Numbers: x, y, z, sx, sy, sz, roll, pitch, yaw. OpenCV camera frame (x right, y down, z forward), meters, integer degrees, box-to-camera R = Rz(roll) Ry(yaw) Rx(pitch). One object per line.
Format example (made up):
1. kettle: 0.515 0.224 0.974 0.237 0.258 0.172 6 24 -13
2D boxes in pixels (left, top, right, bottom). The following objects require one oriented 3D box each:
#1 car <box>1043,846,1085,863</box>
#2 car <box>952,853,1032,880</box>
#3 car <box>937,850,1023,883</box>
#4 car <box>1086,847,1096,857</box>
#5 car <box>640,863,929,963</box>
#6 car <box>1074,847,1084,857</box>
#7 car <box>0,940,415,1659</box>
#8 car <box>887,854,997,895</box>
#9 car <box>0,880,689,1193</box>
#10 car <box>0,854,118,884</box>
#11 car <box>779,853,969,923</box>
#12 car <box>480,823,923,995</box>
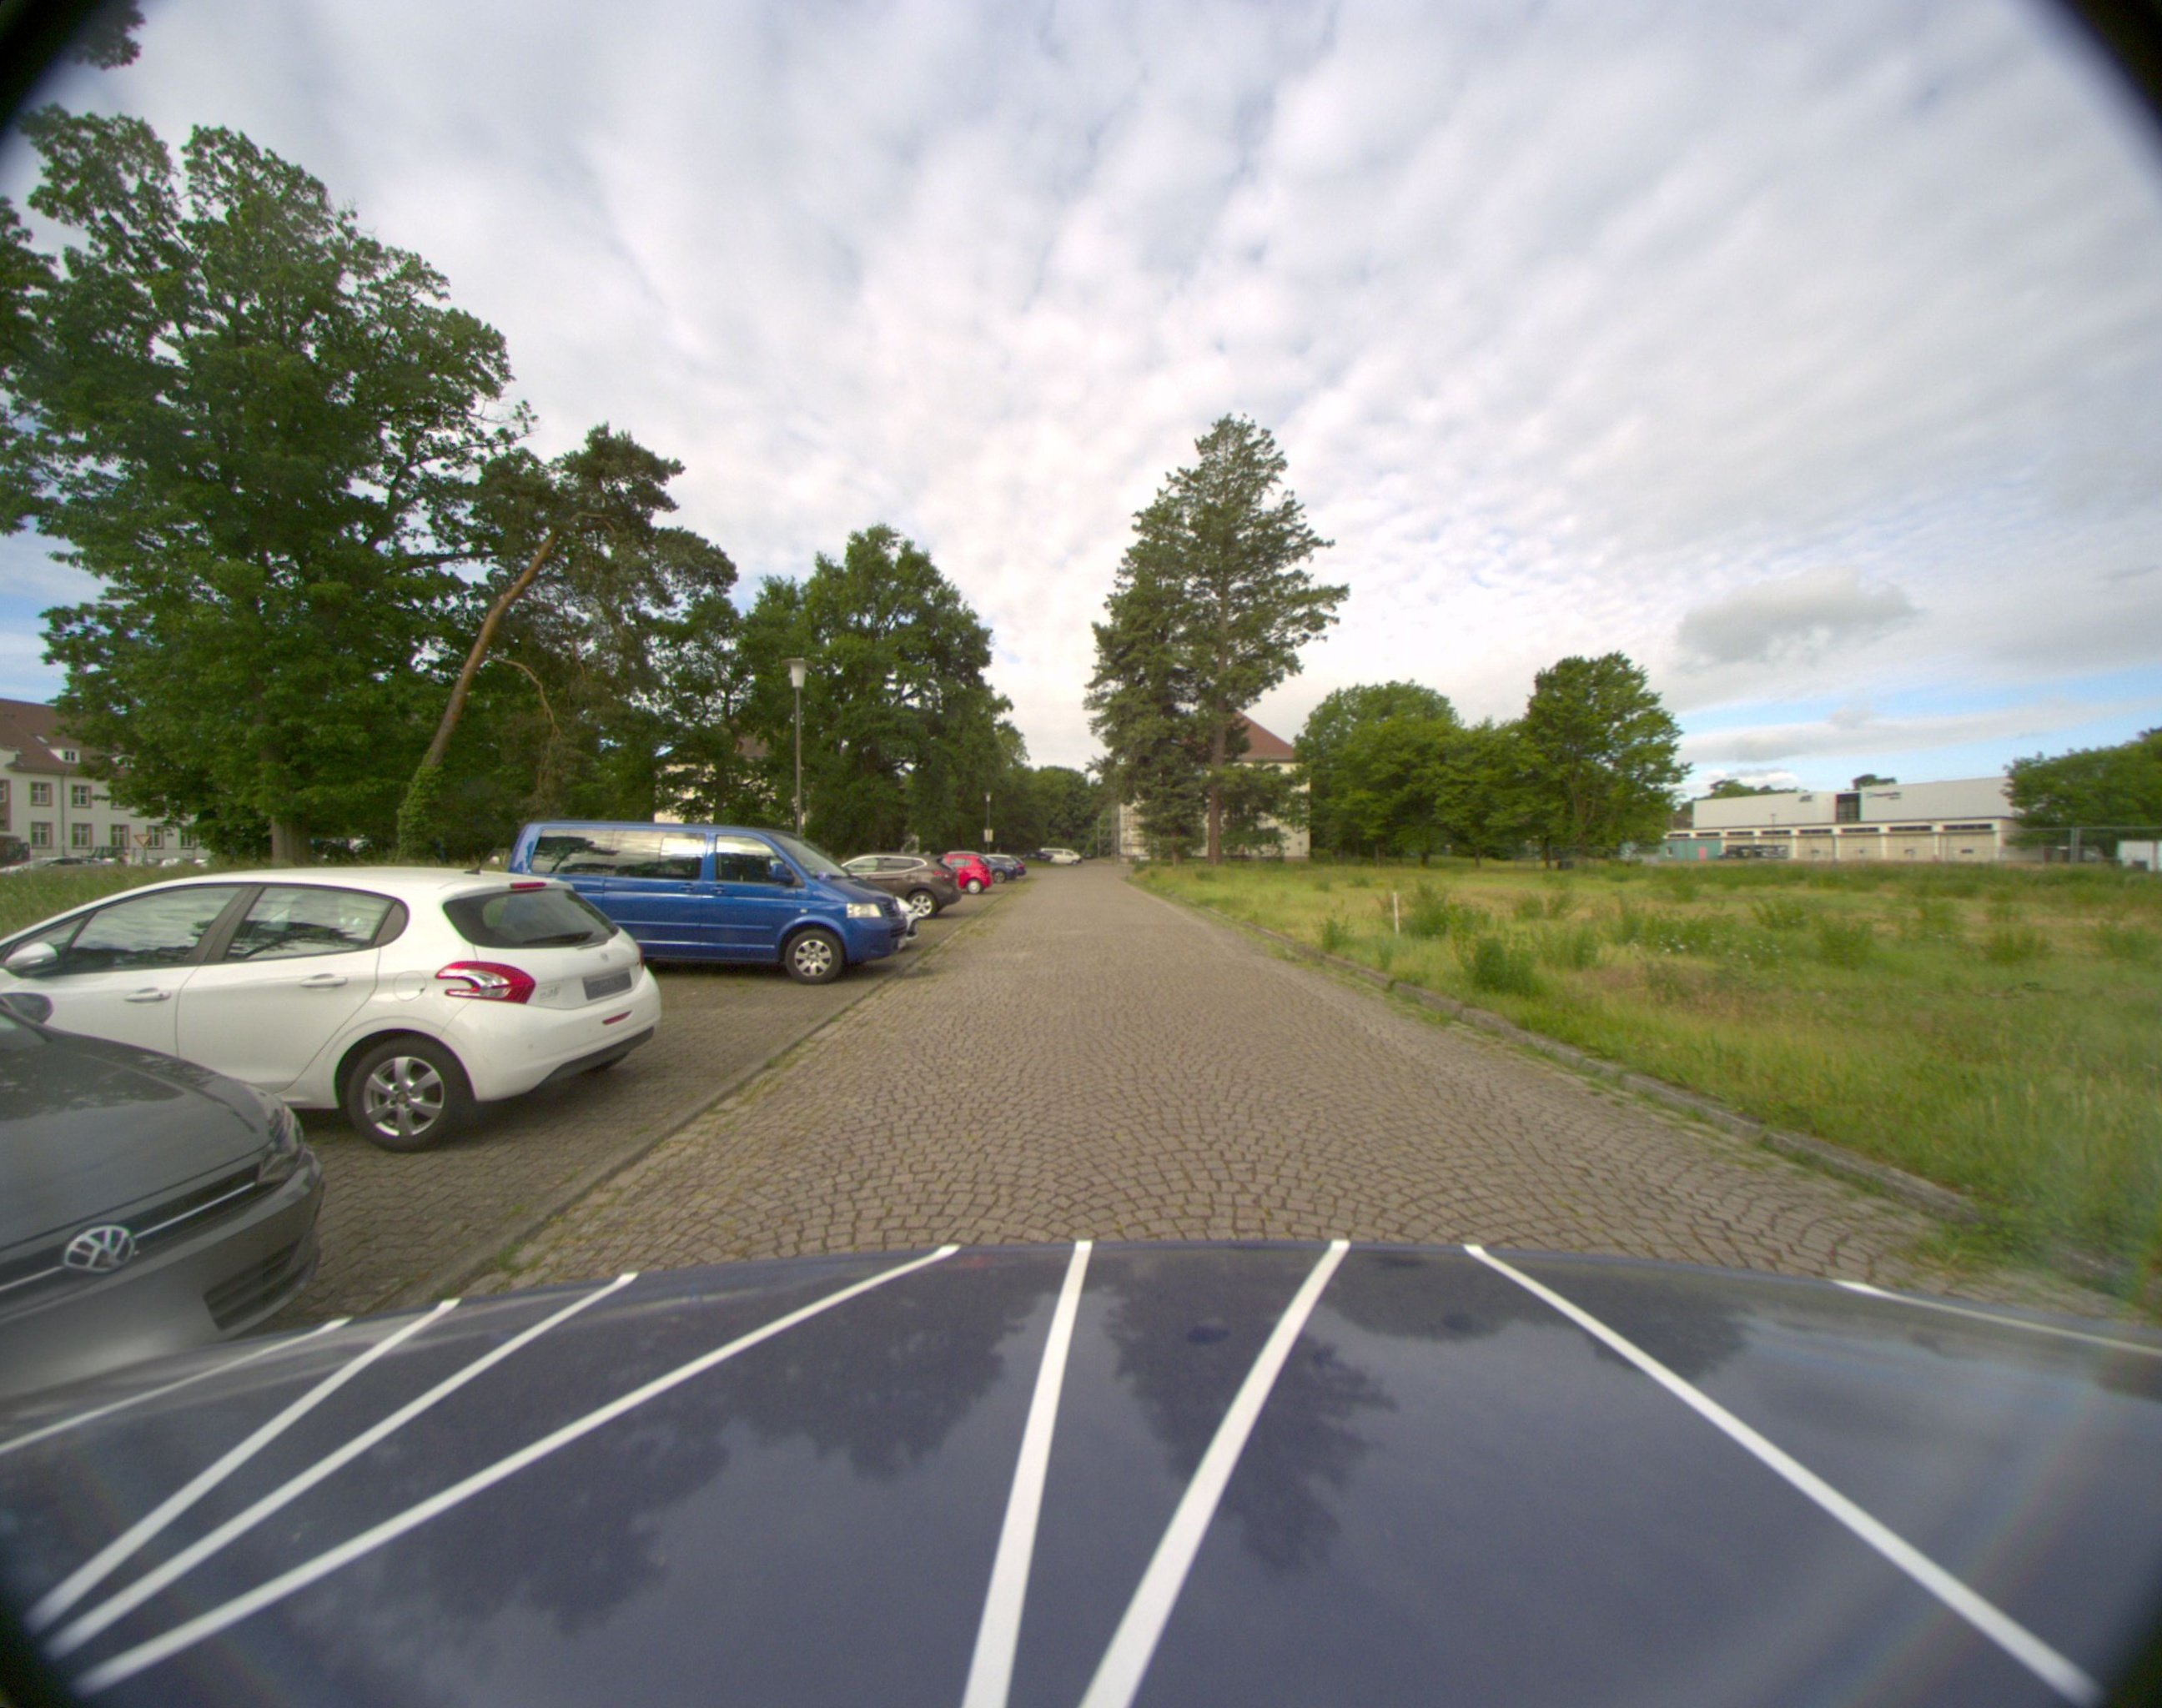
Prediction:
1. car: -2.088 0.002 93.106 5.150 2.002 1.999 1 1 -1
2. car: -5.150 0.712 44.252 4.367 1.431 1.926 1 1 1
3. car: -5.181 0.633 39.508 4.256 1.613 1.886 1 1 -3
4. car: 2.142 -0.421 159.603 1.963 2.002 4.259 1 1 -2
5. car: -4.707 0.924 12.554 4.109 1.470 1.721 1 1 -4
6. car: -0.390 -0.416 159.313 1.963 2.002 4.259 1 1 -2
7. car: -4.437 1.019 1.802 4.141 1.439 1.765 1 1 -1
8. car: -5.258 0.775 29.205 3.934 1.488 1.784 1 1 -3
9. car: -4.725 0.961 4.701 3.663 1.470 1.765 1 1 -1
10. car: -59.145 0.842 43.938 1.653 1.543 4.079 -1 1 1
11. car: -5.022 0.805 18.904 4.215 1.585 1.952 1 1 -3
12. car: -4.684 0.665 10.005 4.809 1.992 1.965 1 1 -3
